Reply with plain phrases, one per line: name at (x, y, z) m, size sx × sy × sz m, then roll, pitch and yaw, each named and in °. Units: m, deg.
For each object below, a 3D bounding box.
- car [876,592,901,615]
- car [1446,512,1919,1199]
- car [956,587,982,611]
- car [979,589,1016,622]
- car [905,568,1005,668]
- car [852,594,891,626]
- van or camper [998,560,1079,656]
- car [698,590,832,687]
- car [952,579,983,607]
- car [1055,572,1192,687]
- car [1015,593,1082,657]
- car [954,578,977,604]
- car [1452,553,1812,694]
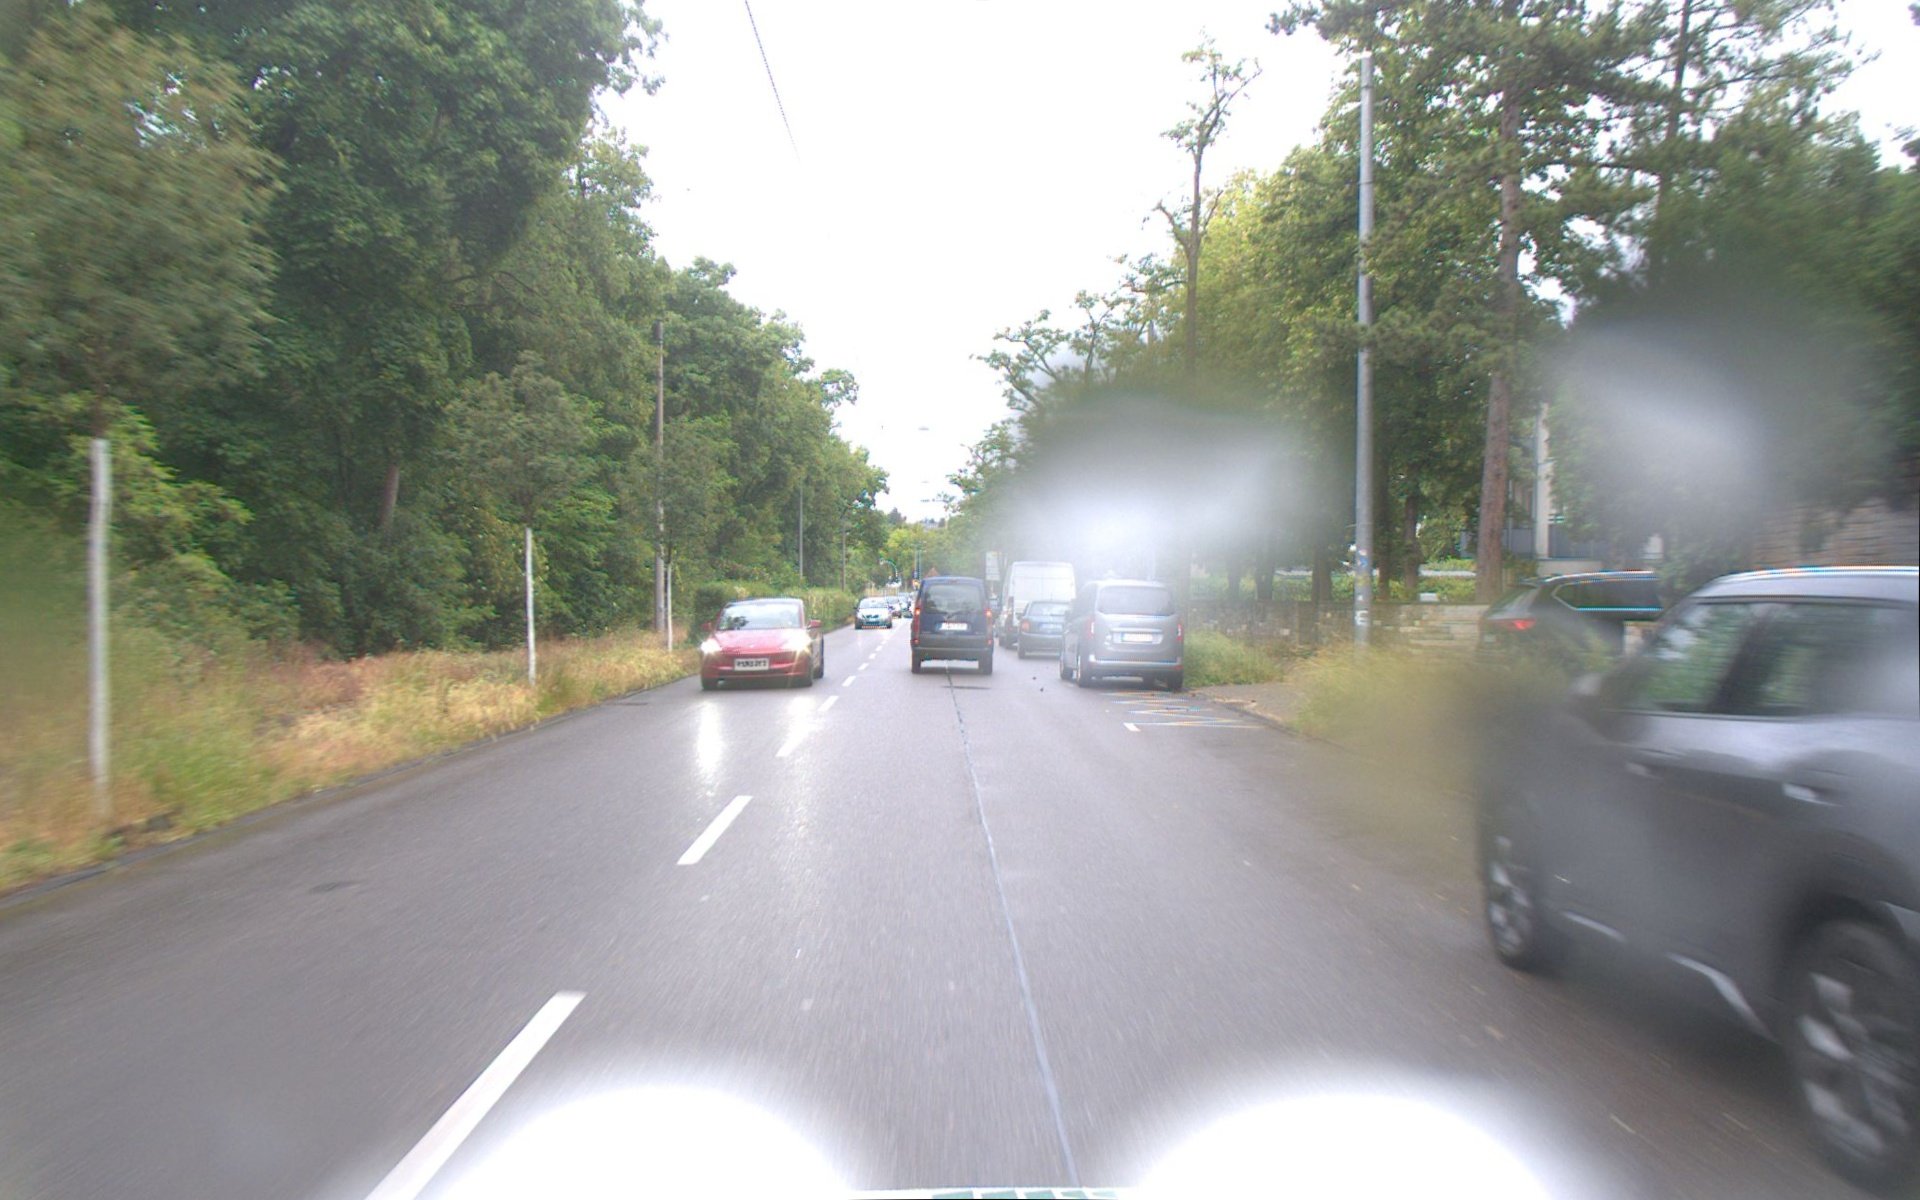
car at (-5.180, 0.231, 119.456) m, size 1.695 × 1.518 × 3.999 m, roll -1°, pitch 1°, yaw -1°
car at (3.212, 0.656, 5.669) m, size 1.737 × 1.753 × 4.326 m, roll 2°, pitch 1°, yaw -1°
car at (0.578, -0.074, 111.661) m, size 1.600 × 1.536 × 2.956 m, roll 1°, pitch 1°, yaw -2°
car at (1.858, 0.259, 82.821) m, size 1.686 × 1.532 × 4.050 m, roll 2°, pitch 1°, yaw -1°
car at (-0.156, 0.311, 33.025) m, size 1.732 × 1.862 × 3.539 m, roll 1°, pitch 1°, yaw -4°
car at (-4.245, 0.501, 79.959) m, size 1.747 × 1.505 × 3.966 m, roll 0°, pitch -1°, yaw -2°
van or camper at (2.301, 0.182, 50.043) m, size 2.036 × 2.697 × 5.345 m, roll 1°, pitch 1°, yaw -1°
car at (-3.250, 0.601, 28.241) m, size 1.822 × 1.506 × 4.156 m, roll -1°, pitch 0°, yaw -1°
car at (0.421, -0.437, 96.300) m, size 1.586 × 1.534 × 3.833 m, roll 1°, pitch 1°, yaw -3°
car at (2.826, 0.455, 29.445) m, size 1.778 × 1.845 × 4.281 m, roll 1°, pitch 1°, yaw -3°
car at (2.219, 0.603, 42.250) m, size 1.592 × 1.489 × 3.809 m, roll 2°, pitch 1°, yaw 2°
car at (0.522, -0.868, 160.394) m, size 2.160 × 2.492 × 4.728 m, roll 0°, pitch 0°, yaw -1°
car at (9.410, 0.323, 23.417) m, size 4.221 × 1.711 × 2.000 m, roll -3°, pitch 0°, yaw -1°
